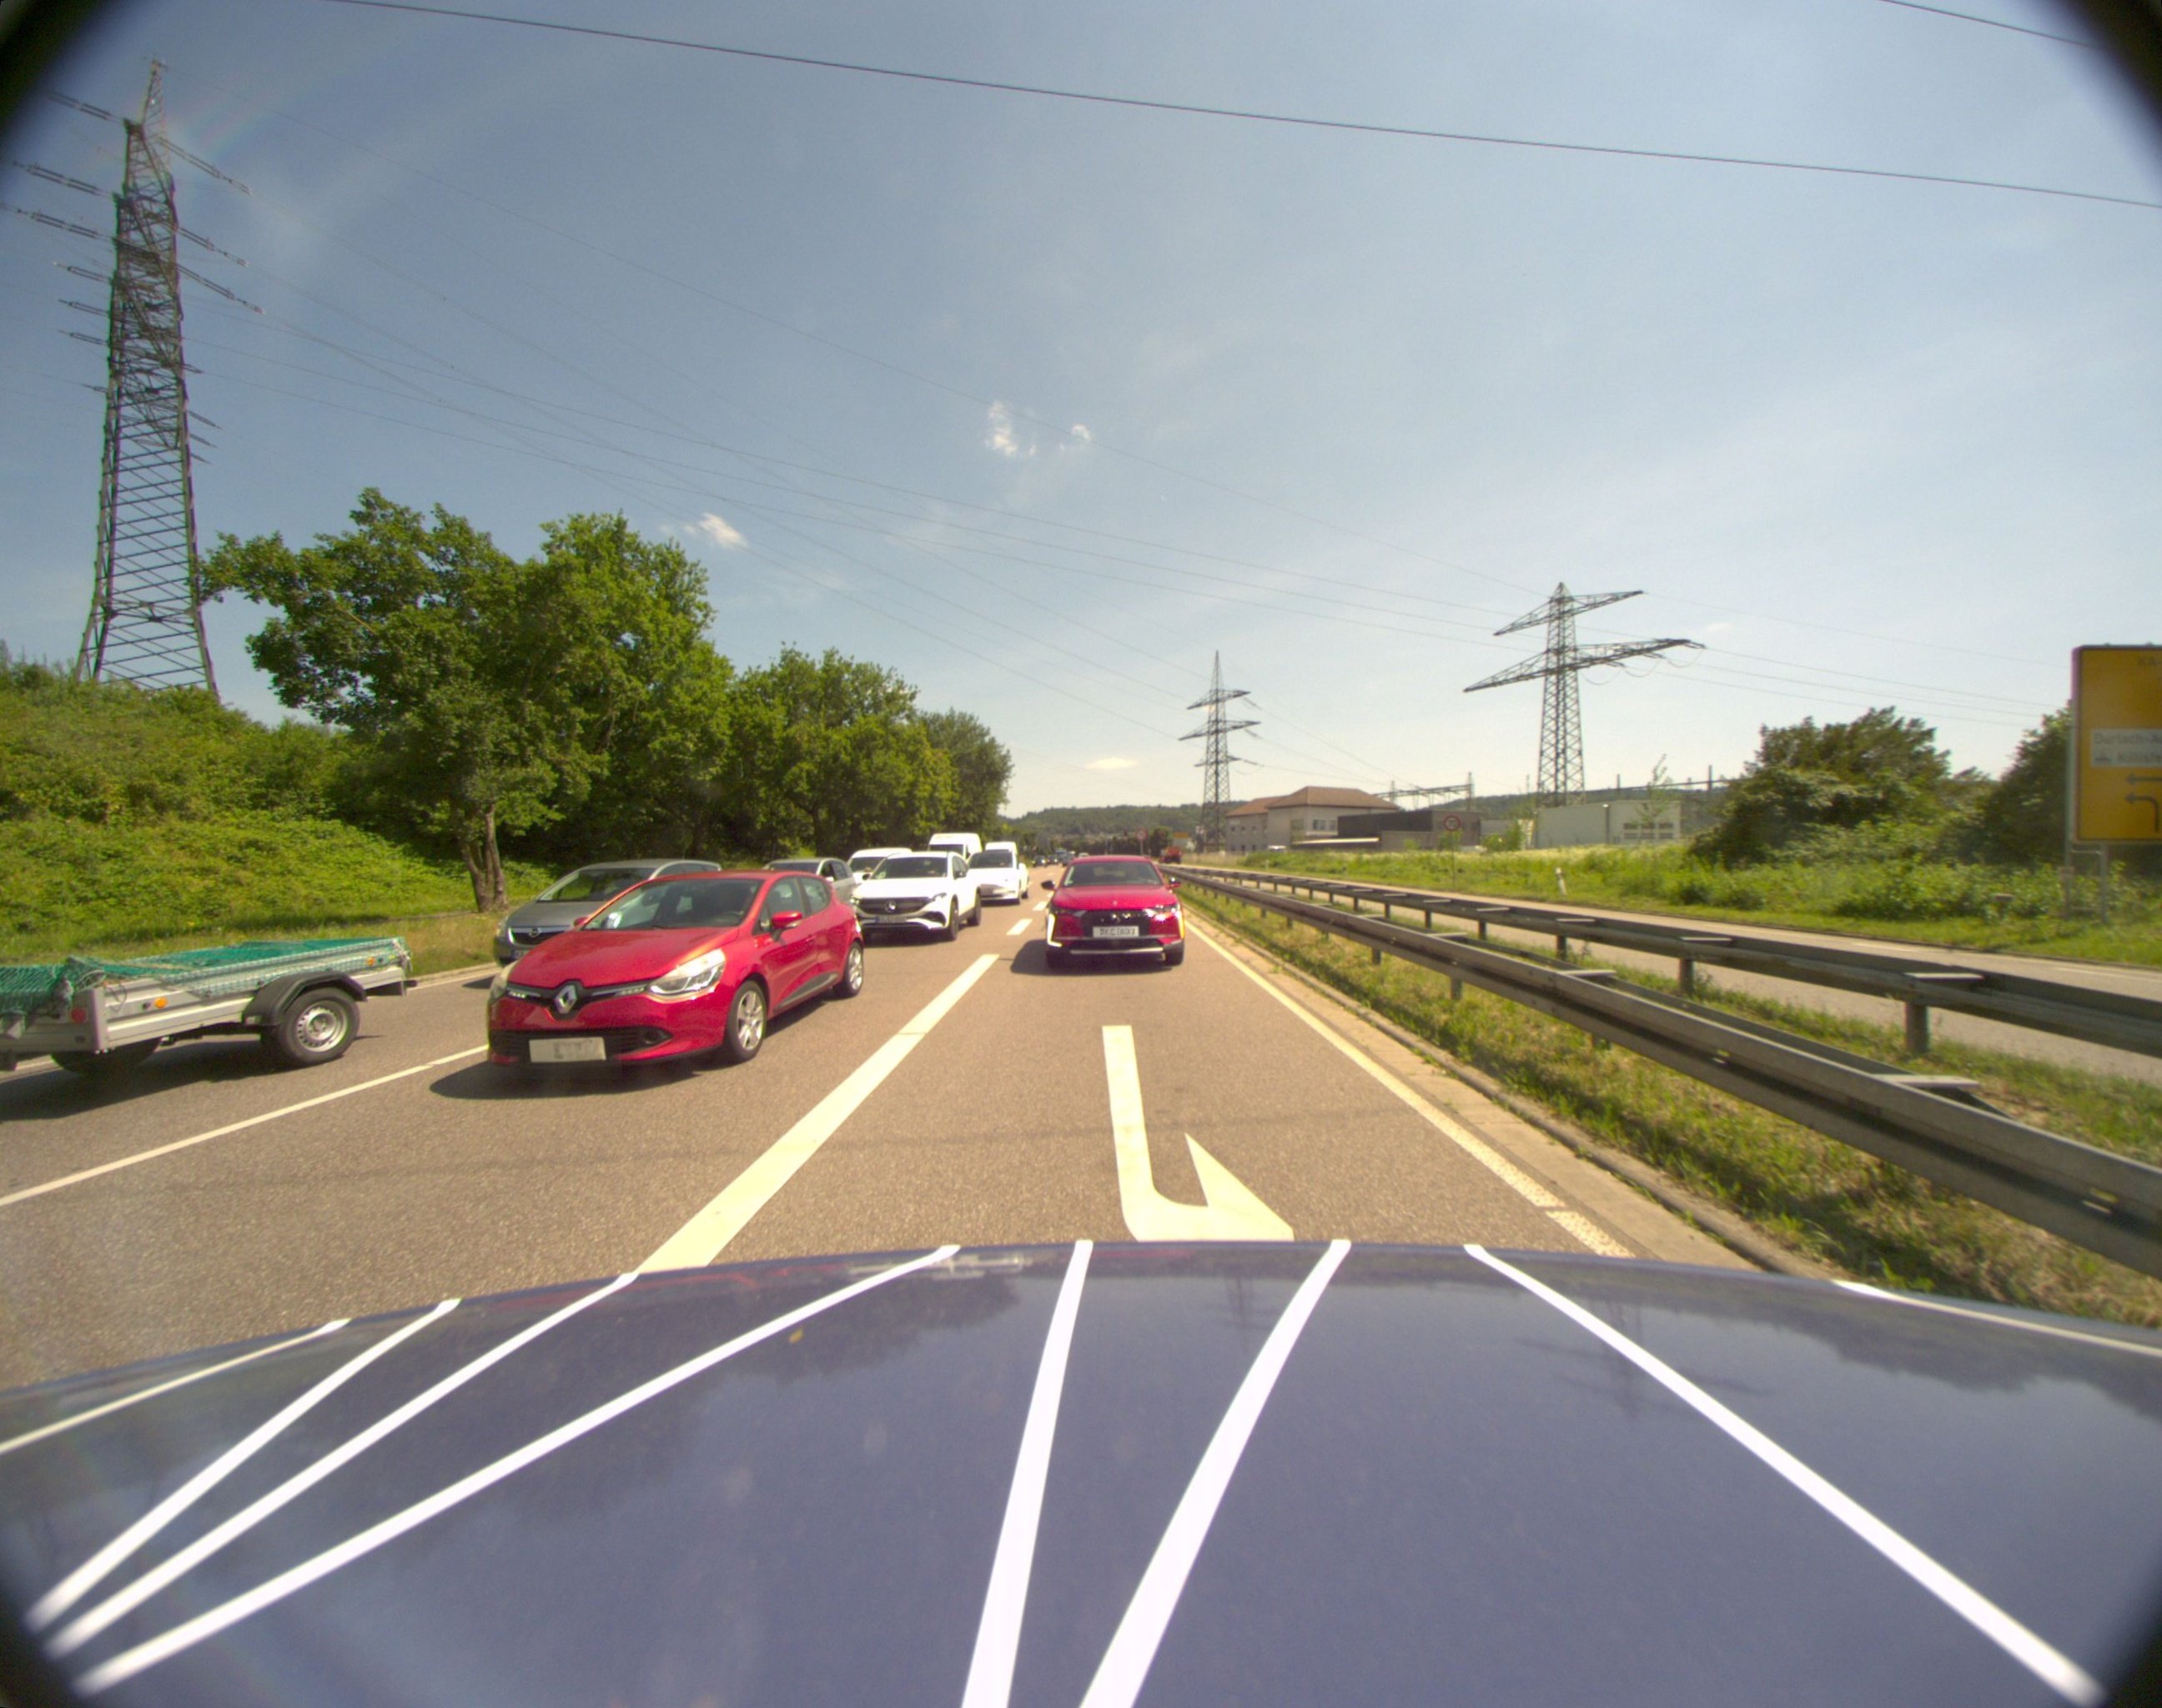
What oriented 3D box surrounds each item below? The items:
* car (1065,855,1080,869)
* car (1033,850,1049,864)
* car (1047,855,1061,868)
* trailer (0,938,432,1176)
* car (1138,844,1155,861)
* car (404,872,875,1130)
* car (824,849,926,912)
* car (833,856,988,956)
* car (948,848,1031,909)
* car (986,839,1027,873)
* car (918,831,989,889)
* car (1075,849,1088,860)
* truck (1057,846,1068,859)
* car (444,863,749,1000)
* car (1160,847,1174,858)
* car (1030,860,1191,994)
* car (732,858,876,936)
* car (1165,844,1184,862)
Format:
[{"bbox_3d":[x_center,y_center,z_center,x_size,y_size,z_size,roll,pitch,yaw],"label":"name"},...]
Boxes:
[{"bbox_3d":[-1.116,1.074,99.049,1.878,1.674,3.999,-2,1,-1],"label":"car"},{"bbox_3d":[-5.331,0.385,102.044,1.878,1.674,3.999,-2,1,-1],"label":"car"},{"bbox_3d":[-4.260,1.174,120.116,1.998,1.808,3.999,-2,1,2],"label":"car"},{"bbox_3d":[-6.820,1.295,5.266,1.710,1.001,3.324,-1,0,1],"label":"trailer"},{"bbox_3d":[11.992,-0.203,139.261,2.607,3.043,5.638,0,1,1],"label":"car"},{"bbox_3d":[-3.308,0.969,6.779,1.747,1.453,4.065,-2,0,1],"label":"car"},{"bbox_3d":[-6.510,0.764,24.685,1.809,1.790,5.037,-2,0,1],"label":"car"},{"bbox_3d":[-3.063,0.858,14.648,1.850,1.559,4.363,-2,0,2],"label":"car"},{"bbox_3d":[-2.733,0.688,23.548,2.022,1.672,3.999,-2,0,0],"label":"car"},{"bbox_3d":[-5.549,0.132,57.414,2.308,2.408,5.814,-2,0,2],"label":"car"},{"bbox_3d":[-6.271,0.243,38.430,2.232,2.592,7.018,-2,0,1],"label":"car"},{"bbox_3d":[0.150,0.052,125.925,1.998,1.752,4.000,0,0,3],"label":"car"},{"bbox_3d":[-3.689,-0.364,153.752,2.170,2.428,4.909,-2,1,-1],"label":"truck"},{"bbox_3d":[-6.818,0.974,11.336,1.769,1.586,4.165,-1,0,2],"label":"car"},{"bbox_3d":[16.268,-0.291,144.672,1.999,1.904,3.998,-2,1,-3],"label":"car"},{"bbox_3d":[0.407,0.879,11.110,1.846,1.453,4.414,-2,0,2],"label":"car"},{"bbox_3d":[-6.495,0.926,18.364,1.747,1.585,4.272,-2,0,2],"label":"car"},{"bbox_3d":[16.628,-0.191,135.157,2.607,3.043,5.638,0,0,1],"label":"car"}]
